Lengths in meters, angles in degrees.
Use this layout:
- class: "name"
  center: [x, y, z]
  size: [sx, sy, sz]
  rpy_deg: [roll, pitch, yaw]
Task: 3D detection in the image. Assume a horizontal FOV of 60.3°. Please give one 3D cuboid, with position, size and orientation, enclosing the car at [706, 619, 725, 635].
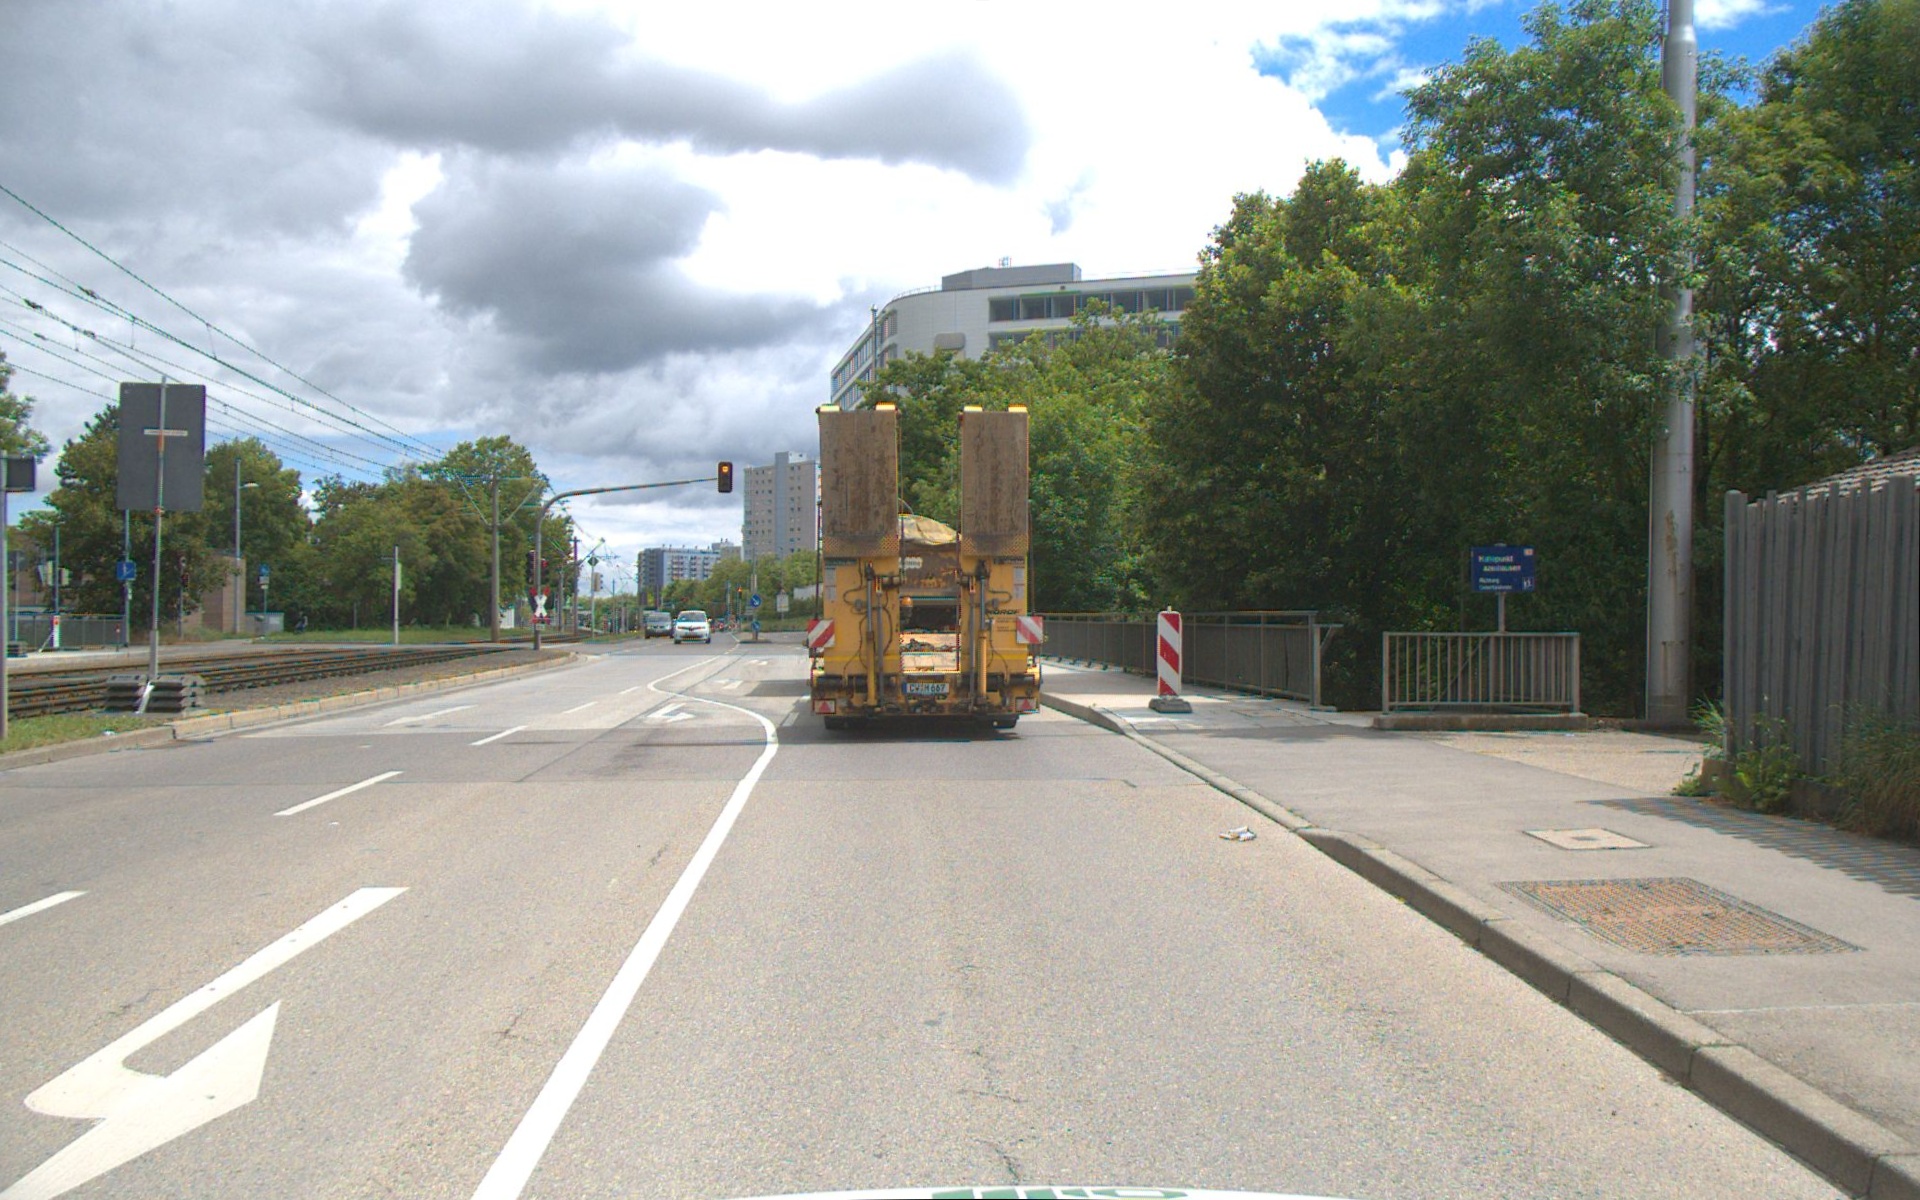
- class: "car"
  center: [-26.393, 2.928, 178.641]
  size: [1.956, 1.646, 3.993]
  rpy_deg: [2, -1, -7]

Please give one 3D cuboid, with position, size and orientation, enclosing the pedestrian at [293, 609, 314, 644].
- class: "pedestrian"
  center: [-35.359, 1.408, 89.088]
  size: [0.785, 1.843, 0.808]
  rpy_deg: [2, -1, -4]

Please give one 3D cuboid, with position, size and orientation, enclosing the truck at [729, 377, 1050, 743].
- class: "truck"
  center: [-0.942, -0.331, 23.438]
  size: [3.249, 3.715, 12.555]
  rpy_deg: [1, -1, -2]

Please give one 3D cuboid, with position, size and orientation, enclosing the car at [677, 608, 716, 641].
- class: "car"
  center: [-12.506, 1.169, 78.616]
  size: [1.562, 1.553, 3.650]
  rpy_deg: [0, -1, -6]

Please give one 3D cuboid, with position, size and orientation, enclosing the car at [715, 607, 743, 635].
- class: "car"
  center: [-16.996, 1.532, 121.742]
  size: [1.956, 1.959, 3.993]
  rpy_deg: [2, -1, -7]

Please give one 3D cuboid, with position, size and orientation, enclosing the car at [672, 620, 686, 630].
- class: "car"
  center: [-38.654, 3.415, 227.776]
  size: [1.750, 1.294, 4.337]
  rpy_deg: [0, -1, -8]

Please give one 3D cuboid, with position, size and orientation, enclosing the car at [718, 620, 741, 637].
- class: "car"
  center: [-21.517, 2.666, 154.468]
  size: [1.956, 1.445, 3.993]
  rpy_deg: [2, -1, -7]

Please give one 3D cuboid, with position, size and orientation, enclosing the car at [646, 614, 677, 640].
- class: "car"
  center: [-18.752, 1.675, 103.968]
  size: [1.750, 1.597, 4.337]
  rpy_deg: [0, -1, -8]

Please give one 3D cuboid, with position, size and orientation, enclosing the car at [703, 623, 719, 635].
- class: "car"
  center: [-27.488, 3.201, 182.793]
  size: [1.750, 1.294, 4.337]
  rpy_deg: [0, -1, -8]

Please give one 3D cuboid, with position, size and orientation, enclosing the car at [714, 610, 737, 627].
- class: "car"
  center: [-20.478, 1.605, 144.552]
  size: [1.956, 1.445, 3.993]
  rpy_deg: [2, -1, -7]
